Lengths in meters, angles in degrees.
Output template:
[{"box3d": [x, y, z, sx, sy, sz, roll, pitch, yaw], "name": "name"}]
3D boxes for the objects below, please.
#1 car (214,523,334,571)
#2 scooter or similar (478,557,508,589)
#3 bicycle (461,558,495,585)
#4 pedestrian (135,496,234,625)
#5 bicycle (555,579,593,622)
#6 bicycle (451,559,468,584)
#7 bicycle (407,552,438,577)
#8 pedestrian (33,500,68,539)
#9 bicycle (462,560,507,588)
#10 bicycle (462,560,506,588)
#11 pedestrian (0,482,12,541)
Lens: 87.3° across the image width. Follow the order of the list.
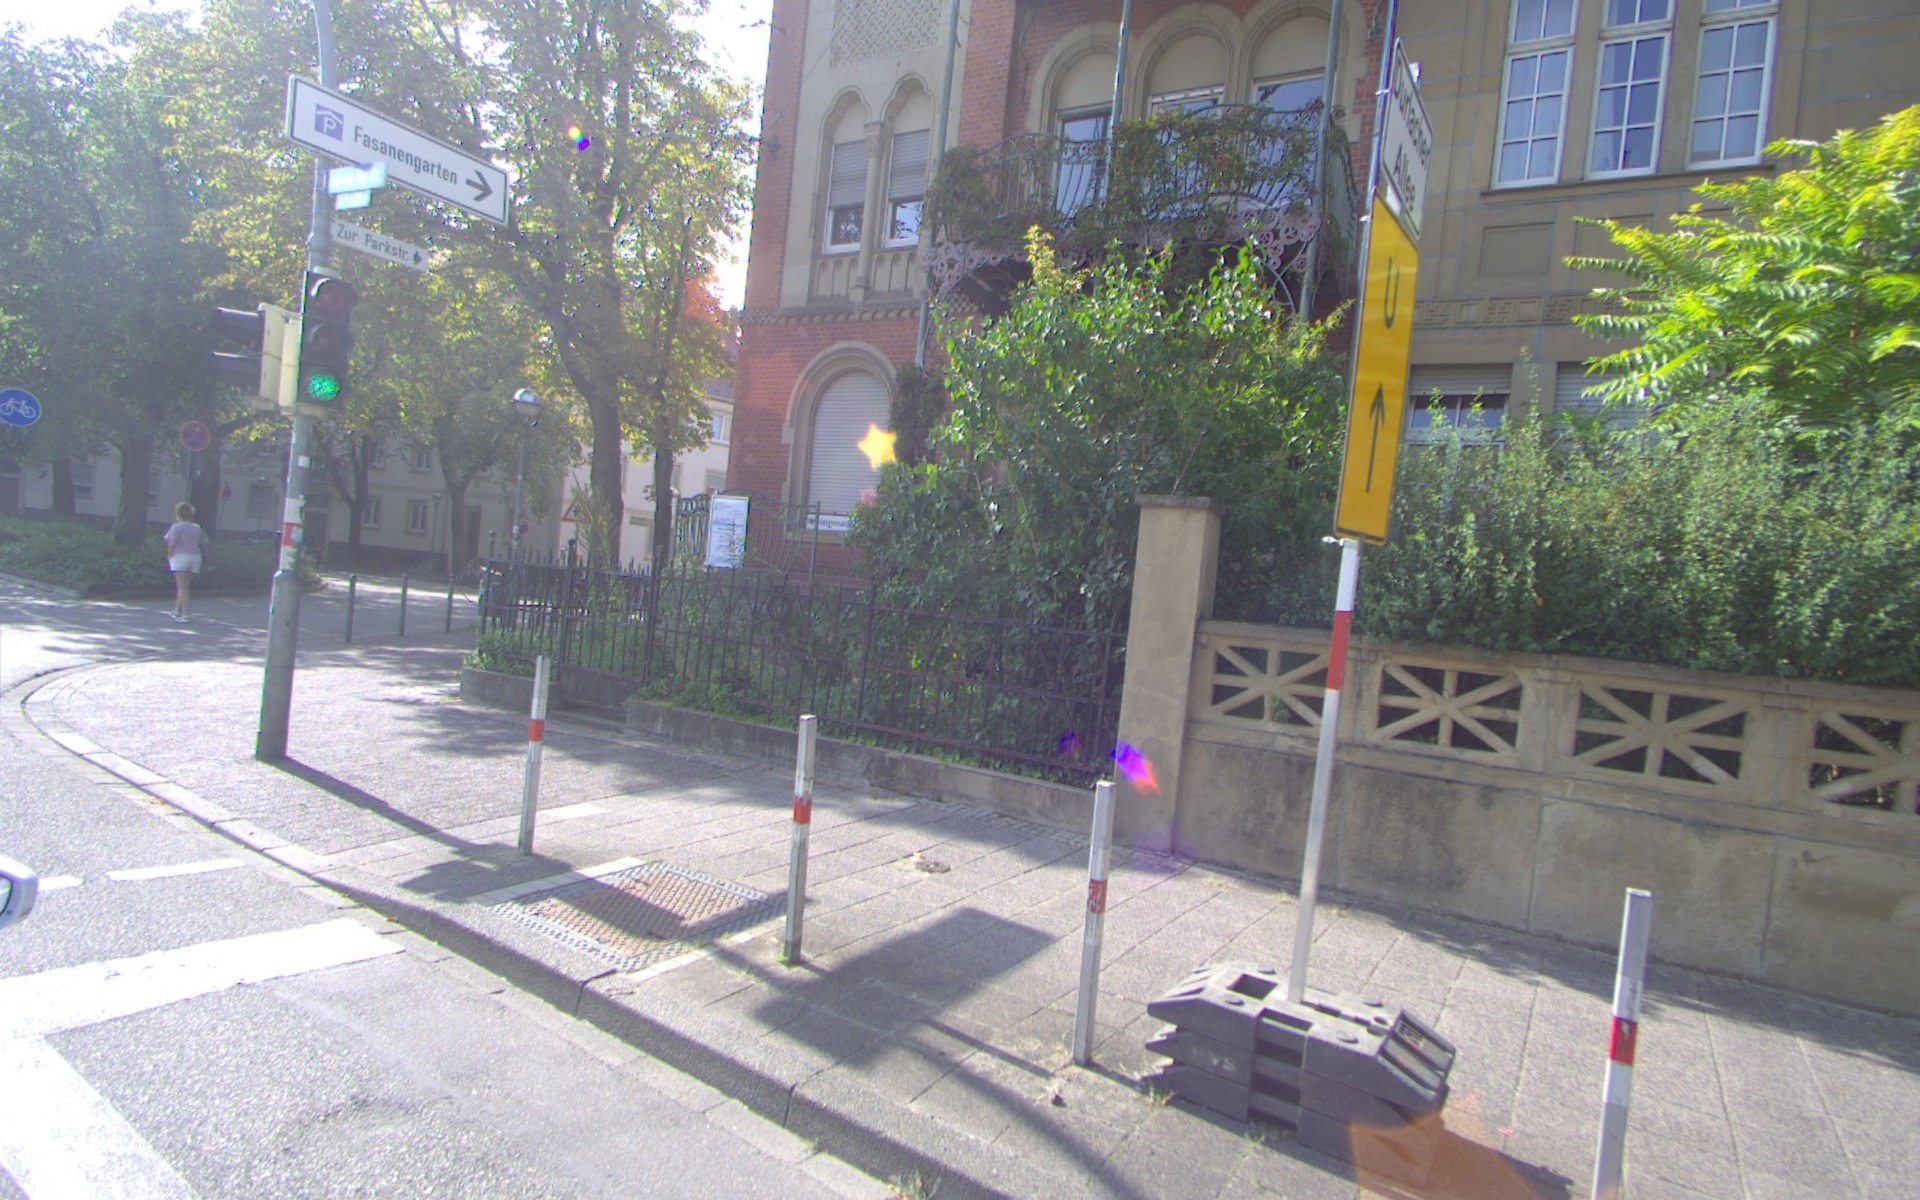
[{"box3d": [-27.122, -2.087, 39.806, 3.925, 1.436, 1.860, 6, 0, 19], "name": "car"}, {"box3d": [-19.276, -1.109, 41.548, 1.059, 1.214, 0.456, 2, 4, -28], "name": "scooter or similar"}, {"box3d": [-20.747, -1.225, 43.330, 0.417, 1.052, 1.556, 6, 0, 12], "name": "bicycle"}, {"box3d": [-11.296, -0.560, 14.660, 0.757, 1.753, 0.752, 6, 1, 21], "name": "pedestrian"}, {"box3d": [-9.558, -0.002, 24.951, 0.418, 0.990, 1.767, 6, 0, -9], "name": "bicycle"}, {"box3d": [-21.122, -1.205, 42.469, 0.420, 0.990, 1.548, 5, 1, -22], "name": "bicycle"}, {"box3d": [-24.529, -1.613, 45.901, 1.528, 0.990, 0.425, 6, 1, 28], "name": "bicycle"}, {"box3d": [-44.743, -3.950, 49.494, 0.879, 1.762, 0.774, 6, 1, -11], "name": "pedestrian"}, {"box3d": [-19.744, -1.065, 41.788, 0.420, 0.990, 1.546, 7, 1, 45], "name": "bicycle"}, {"box3d": [-19.915, -1.094, 42.081, 0.420, 0.990, 1.546, 7, 1, 45], "name": "bicycle"}, {"box3d": [-29.392, -2.729, 30.443, 0.887, 1.762, 0.767, 5, 1, -42], "name": "pedestrian"}]
